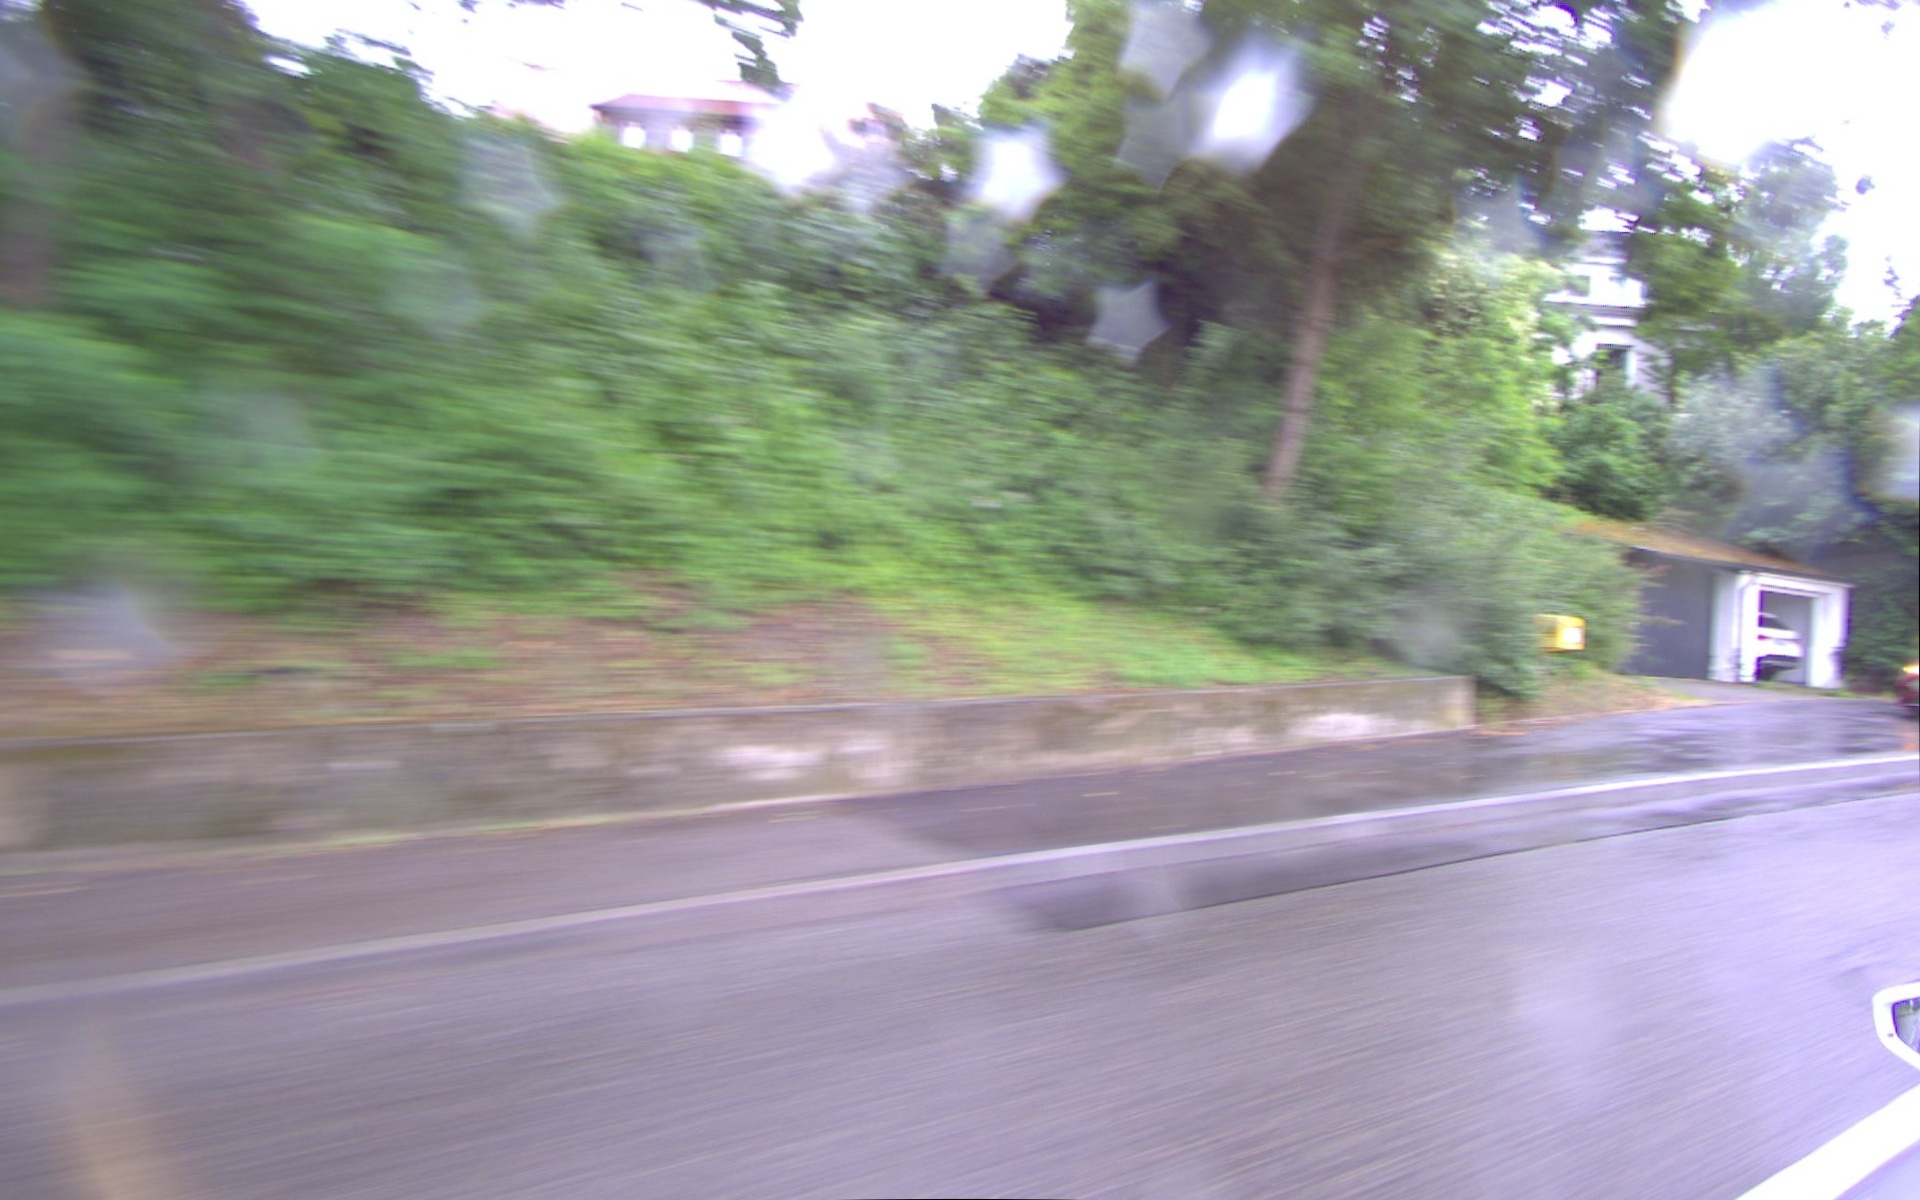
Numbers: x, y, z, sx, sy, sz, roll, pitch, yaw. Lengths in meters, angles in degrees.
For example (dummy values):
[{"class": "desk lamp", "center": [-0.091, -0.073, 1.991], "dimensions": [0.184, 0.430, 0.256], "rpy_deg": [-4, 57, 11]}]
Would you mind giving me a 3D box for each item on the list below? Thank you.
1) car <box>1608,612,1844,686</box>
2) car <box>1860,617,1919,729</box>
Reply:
[{"class": "car", "center": [17.323, 1.041, 22.968], "dimensions": [1.849, 1.523, 3.985], "rpy_deg": [1, -1, -18]}, {"class": "car", "center": [16.030, 1.089, 14.859], "dimensions": [4.578, 1.582, 1.992], "rpy_deg": [1, 1, -18]}]
